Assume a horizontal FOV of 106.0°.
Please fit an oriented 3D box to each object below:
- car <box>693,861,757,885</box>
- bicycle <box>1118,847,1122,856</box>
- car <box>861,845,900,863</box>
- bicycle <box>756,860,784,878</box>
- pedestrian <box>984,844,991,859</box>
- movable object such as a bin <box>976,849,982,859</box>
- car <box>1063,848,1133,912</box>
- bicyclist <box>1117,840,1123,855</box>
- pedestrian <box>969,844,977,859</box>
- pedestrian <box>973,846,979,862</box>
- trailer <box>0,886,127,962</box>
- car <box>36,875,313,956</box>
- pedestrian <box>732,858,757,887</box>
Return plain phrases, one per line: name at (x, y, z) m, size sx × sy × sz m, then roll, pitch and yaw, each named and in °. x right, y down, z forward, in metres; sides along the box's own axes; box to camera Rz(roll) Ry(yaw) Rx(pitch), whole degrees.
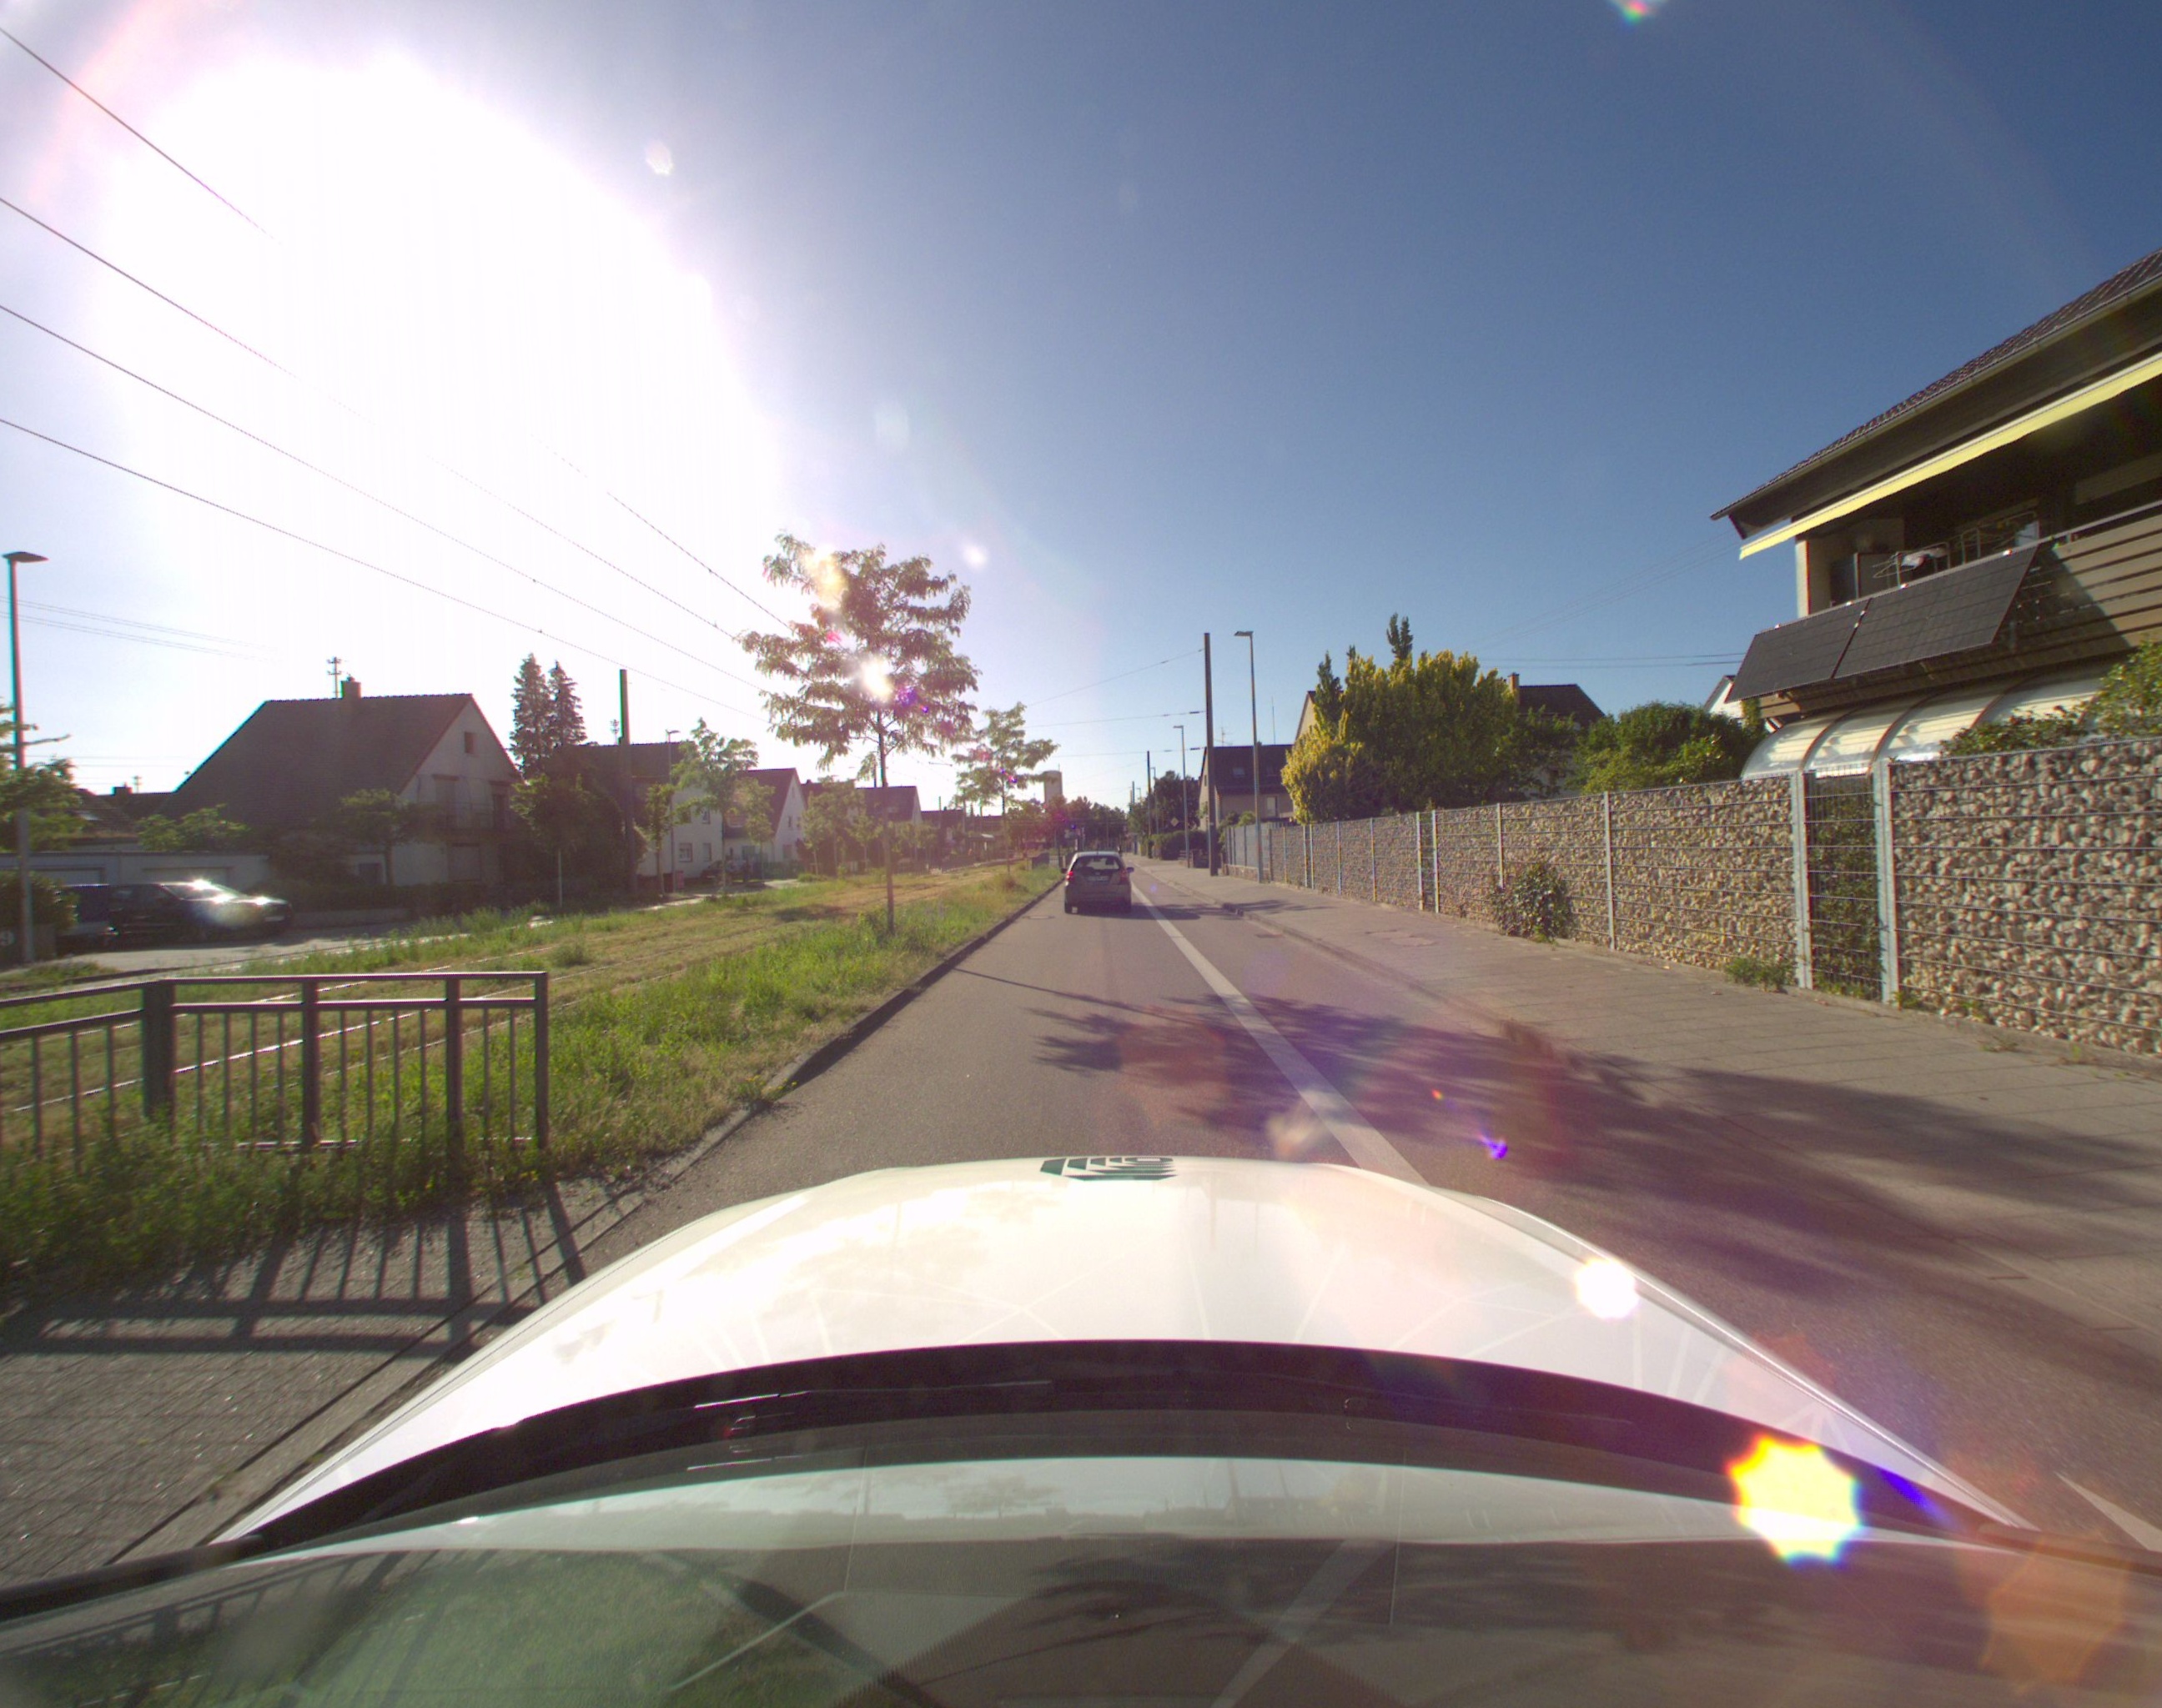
car at (-24.337, 1.261, 55.877) m, size 1.927 × 1.450 × 5.164 m, roll -2°, pitch 0°, yaw 1°
bicycle at (4.369, -0.265, 91.060) m, size 0.473 × 0.961 × 1.657 m, roll -1°, pitch 0°, yaw 2°
car at (-22.491, 0.021, 91.249) m, size 3.982 × 1.970 × 1.929 m, roll -1°, pitch 0°, yaw -7°
bicycle at (-25.793, 1.252, 67.561) m, size 1.986 × 1.365 × 0.703 m, roll -2°, pitch 0°, yaw -6°
pedestrian at (-10.643, -0.283, 92.695) m, size 0.498 × 1.696 × 0.771 m, roll -5°, pitch 0°, yaw 2°
movable object such as a bin at (-10.426, -0.027, 83.521) m, size 0.545 × 0.988 × 0.741 m, roll -2°, pitch 0°, yaw -3°
car at (0.429, 0.622, 21.354) m, size 1.665 × 1.535 × 3.487 m, roll -1°, pitch 0°, yaw 1°
bicyclist at (4.341, -0.753, 90.906) m, size 0.596 × 1.701 × 0.684 m, roll -1°, pitch 0°, yaw 1°
pedestrian at (-11.092, -0.260, 83.460) m, size 0.673 × 1.535 × 0.748 m, roll -2°, pitch 0°, yaw -3°
pedestrian at (-11.003, -0.022, 85.422) m, size 0.518 × 1.708 × 0.580 m, roll -2°, pitch 0°, yaw -3°
trailer at (-25.328, 1.686, 19.621) m, size 2.905 × 1.647 × 1.398 m, roll -2°, pitch 0°, yaw -2°
car at (-23.905, 1.562, 21.700) m, size 4.541 × 1.734 × 2.046 m, roll -3°, pitch 0°, yaw -11°
pedestrian at (-20.081, 1.084, 48.586) m, size 0.961 × 1.640 × 1.086 m, roll -2°, pitch 0°, yaw 1°
